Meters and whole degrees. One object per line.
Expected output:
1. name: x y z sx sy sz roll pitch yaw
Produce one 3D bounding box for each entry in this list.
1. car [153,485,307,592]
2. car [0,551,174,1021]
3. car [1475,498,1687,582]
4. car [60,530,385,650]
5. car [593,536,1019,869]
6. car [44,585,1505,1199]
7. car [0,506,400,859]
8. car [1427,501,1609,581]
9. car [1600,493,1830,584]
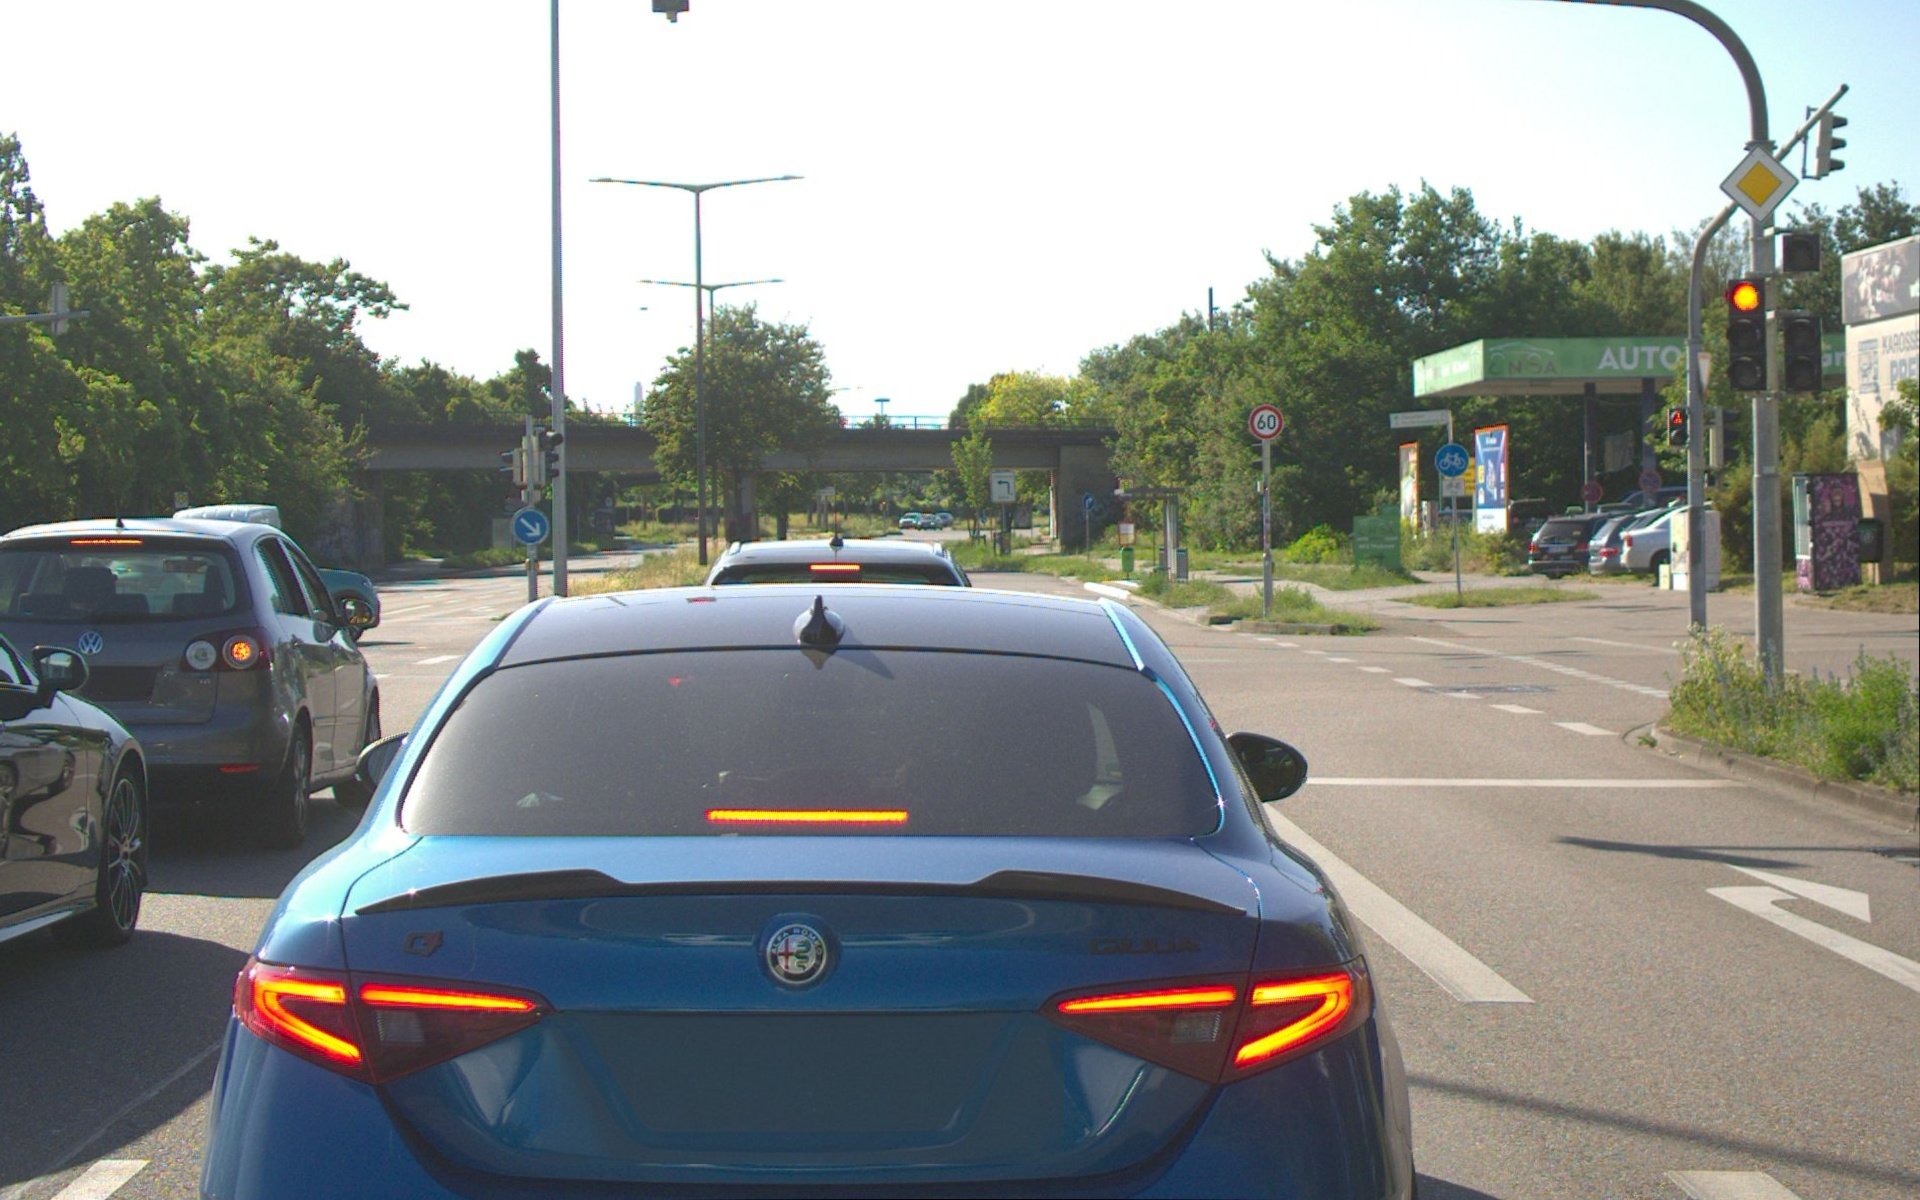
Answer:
1. car: -17.160 -1.468 81.079 2.431 2.418 5.831 0 1 -1
2. car: -3.805 0.574 10.621 1.768 1.409 4.461 0 1 -1
3. car: 12.818 -1.239 70.944 3.986 1.700 1.696 -1 1 -19
4. car: -10.283 -0.174 48.021 4.037 1.589 1.824 -1 2 -34
5. car: -0.699 0.415 17.059 1.866 1.445 3.932 0 1 -1
6. car: -0.260 0.700 6.371 1.866 1.380 3.932 0 1 -1
7. car: -3.981 0.334 17.528 1.648 1.593 3.932 0 1 -1
8. car: 12.017 -1.277 74.135 3.483 1.700 1.696 -1 1 -16
9. car: 14.509 -1.186 66.089 3.986 1.700 1.696 -1 1 -16
